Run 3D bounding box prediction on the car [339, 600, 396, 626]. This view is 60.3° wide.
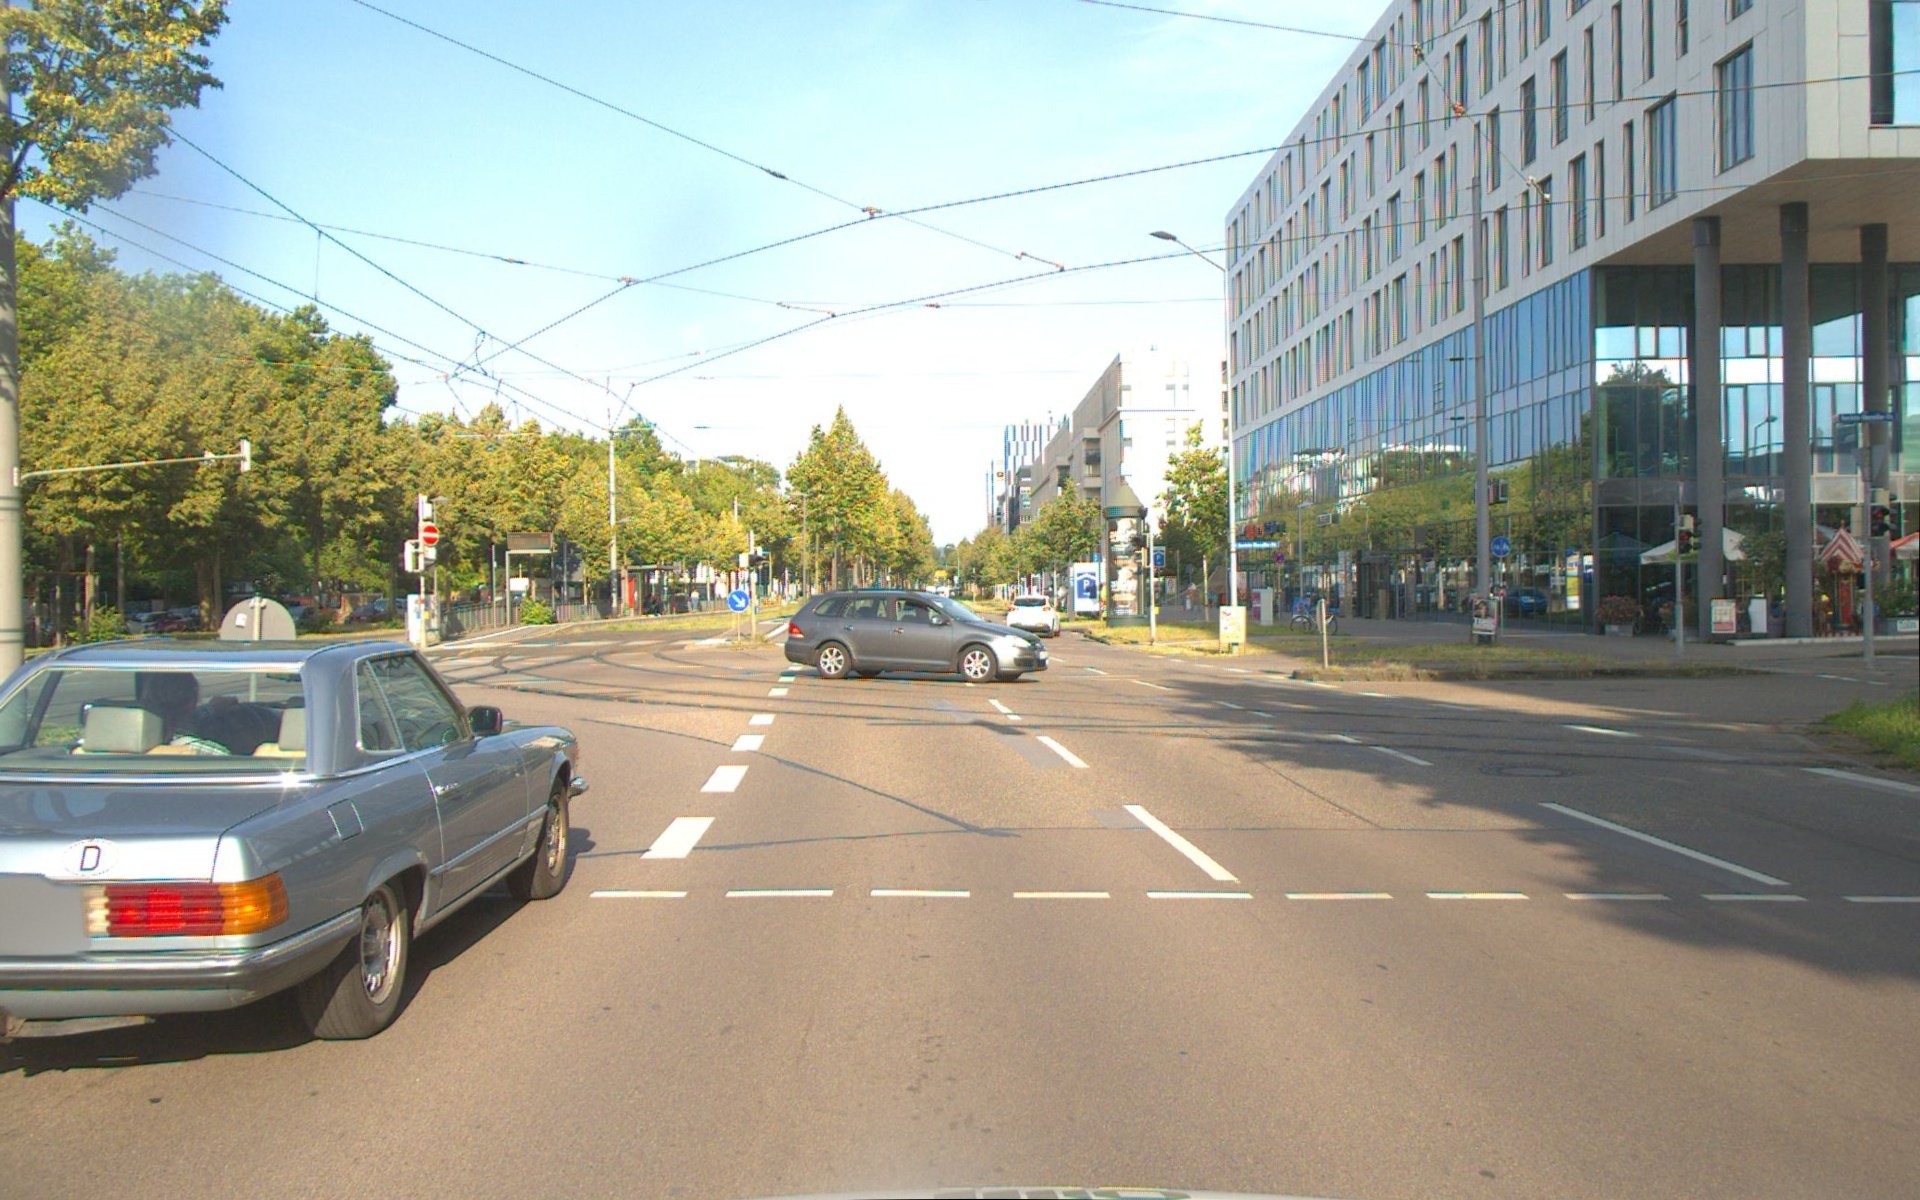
[{"bbox_3d":[-36.882,0.789,103.041,1.841,1.586,4.002,-1,0,4],"label":"car"}]

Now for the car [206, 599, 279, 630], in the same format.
[{"bbox_3d":[-38.129,0.762,87.996,1.841,1.586,4.002,-1,0,4],"label":"car"}]

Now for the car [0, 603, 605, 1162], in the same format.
[{"bbox_3d":[-2.680,0.737,6.459,1.728,1.353,4.399,1,1,-2],"label":"car"}]

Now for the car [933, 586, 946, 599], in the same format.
[{"bbox_3d":[-2.840,-1.080,229.509,1.826,1.713,4.000,1,1,0],"label":"car"}]

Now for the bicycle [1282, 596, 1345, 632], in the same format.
[{"bbox_3d":[11.349,0.446,53.127,0.768,1.050,1.848,-1,3,-44],"label":"bicycle"}]

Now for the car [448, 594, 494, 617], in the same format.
[{"bbox_3d":[-35.621,0.397,120.621,1.841,1.586,4.002,-1,0,4],"label":"car"}]

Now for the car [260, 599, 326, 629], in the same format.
[{"bbox_3d":[-37.709,0.778,93.575,1.841,1.586,4.002,-1,0,4],"label":"car"}]

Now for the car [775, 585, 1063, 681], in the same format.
[{"bbox_3d":[-0.681,0.518,27.525,4.465,1.487,1.735,0,0,20],"label":"car"}]

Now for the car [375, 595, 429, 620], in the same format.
[{"bbox_3d":[-36.452,0.466,108.127,1.841,1.586,4.002,-1,0,4],"label":"car"}]

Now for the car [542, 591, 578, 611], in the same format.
[{"bbox_3d":[-34.472,0.078,142.779,1.841,1.586,4.002,-1,0,4],"label":"car"}]

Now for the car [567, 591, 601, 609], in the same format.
[{"bbox_3d":[-33.855,0.001,148.992,1.841,1.586,4.002,-1,0,4],"label":"car"}]

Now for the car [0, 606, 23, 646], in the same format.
[{"bbox_3d":[-39.333,1.054,65.585,1.841,1.586,4.002,-1,0,4],"label":"car"}]

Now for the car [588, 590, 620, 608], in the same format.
[{"bbox_3d":[-33.413,-0.080,155.423,1.841,1.586,4.002,-1,0,4],"label":"car"}]

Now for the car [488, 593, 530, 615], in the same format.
[{"bbox_3d":[-35.038,0.294,128.551,1.841,1.586,4.002,-1,0,4],"label":"car"}]

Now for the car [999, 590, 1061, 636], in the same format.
[{"bbox_3d":[2.545,0.465,59.356,1.951,1.530,4.095,-1,-1,6],"label":"car"}]

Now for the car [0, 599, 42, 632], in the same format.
[{"bbox_3d":[-46.662,0.759,80.218,1.841,1.586,4.002,-1,0,4],"label":"car"}]

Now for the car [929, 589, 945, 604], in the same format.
[{"bbox_3d":[-2.727,-0.391,199.800,1.826,1.713,4.000,1,1,0],"label":"car"}]
